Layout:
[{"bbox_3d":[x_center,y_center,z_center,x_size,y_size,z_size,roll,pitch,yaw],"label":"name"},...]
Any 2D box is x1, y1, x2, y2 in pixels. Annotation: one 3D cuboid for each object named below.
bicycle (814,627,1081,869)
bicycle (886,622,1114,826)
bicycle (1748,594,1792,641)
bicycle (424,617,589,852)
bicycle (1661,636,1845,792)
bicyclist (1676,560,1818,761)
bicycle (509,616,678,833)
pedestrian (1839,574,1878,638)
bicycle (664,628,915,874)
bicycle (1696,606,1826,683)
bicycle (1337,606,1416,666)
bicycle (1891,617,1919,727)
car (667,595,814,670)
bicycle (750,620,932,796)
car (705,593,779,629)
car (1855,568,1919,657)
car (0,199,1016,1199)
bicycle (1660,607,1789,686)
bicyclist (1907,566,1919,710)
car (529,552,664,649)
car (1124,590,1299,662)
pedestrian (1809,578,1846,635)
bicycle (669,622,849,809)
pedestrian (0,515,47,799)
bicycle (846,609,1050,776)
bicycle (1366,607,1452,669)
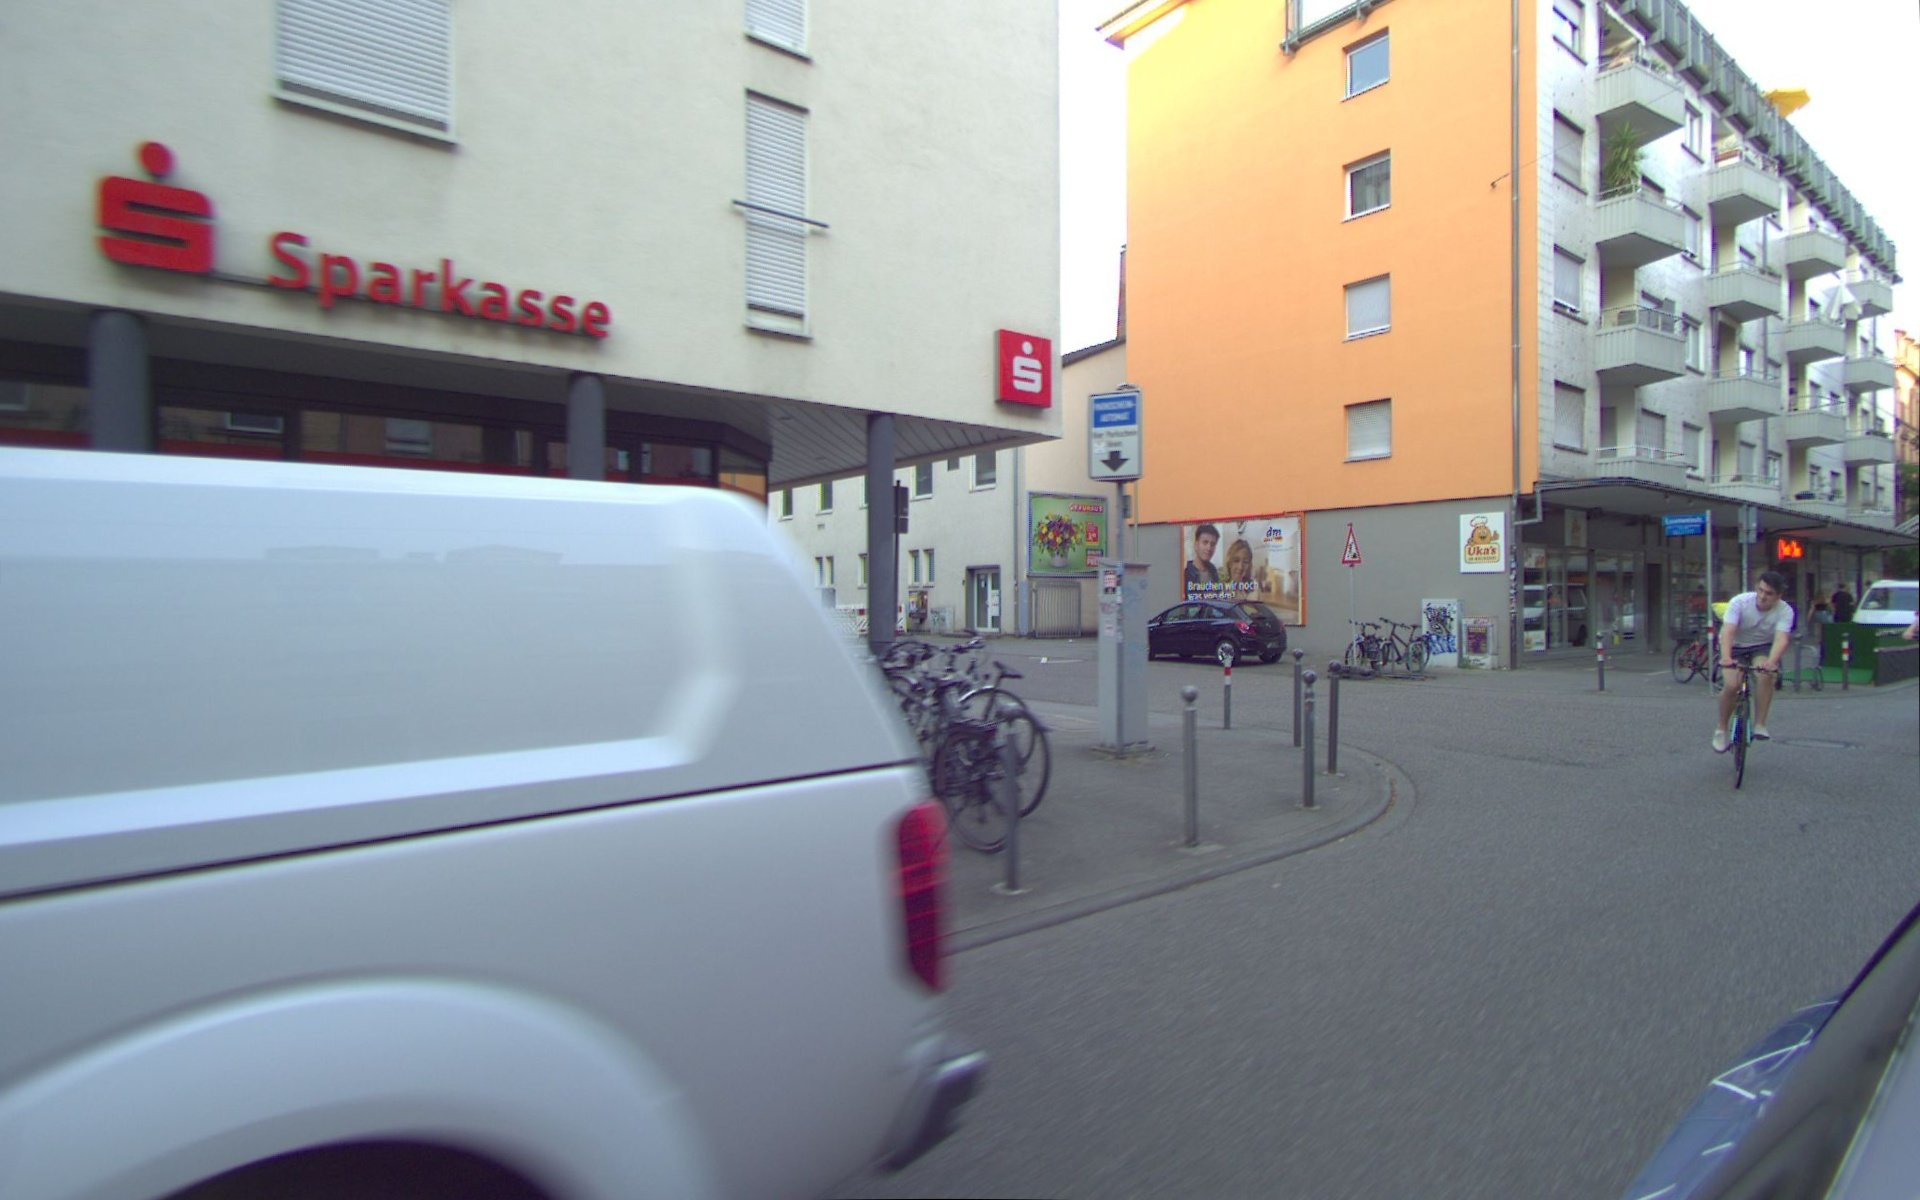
[{"bbox_3d":[-0.138,0.791,6.130,0.694,1.131,1.727,-1,2,-39],"label":"bicycle"},{"bbox_3d":[0.222,0.772,7.056,0.693,1.131,1.729,-1,2,-34],"label":"bicycle"},{"bbox_3d":[22.880,0.470,28.613,0.908,1.210,1.688,2,3,38],"label":"bicycle"},{"bbox_3d":[-2.821,0.723,6.201,0.641,1.131,1.729,-1,2,-34],"label":"bicycle"},{"bbox_3d":[6.454,0.860,8.201,1.882,1.031,0.658,-2,0,-36],"label":"bicycle"},{"bbox_3d":[6.426,0.454,8.261,0.935,1.528,0.650,-1,0,-36],"label":"bicyclist"},{"bbox_3d":[-2.445,0.723,6.632,0.641,1.131,1.729,-1,2,-34],"label":"bicycle"},{"bbox_3d":[26.840,0.157,30.243,0.845,1.851,0.710,-1,2,-38],"label":"pedestrian"},{"bbox_3d":[-1.086,0.801,6.098,0.694,1.131,1.813,-1,2,-39],"label":"bicycle"},{"bbox_3d":[13.703,0.733,17.393,0.644,1.148,1.946,1,2,-1],"label":"bicycle"},{"bbox_3d":[8.247,0.685,20.036,1.723,1.080,0.564,-2,2,-33],"label":"bicycle"},{"bbox_3d":[11.128,0.763,11.178,2.299,1.154,0.794,0,-2,-36],"label":"bicycle"},{"bbox_3d":[-4.926,0.661,22.281,1.757,1.451,4.249,3,-1,-32],"label":"car"},{"bbox_3d":[-0.949,0.738,7.631,0.641,1.067,1.729,-1,2,-34],"label":"bicycle"},{"bbox_3d":[-9.628,0.472,44.404,1.776,1.437,4.133,-2,0,-34],"label":"car"},{"bbox_3d":[23.463,0.289,24.354,4.910,1.998,1.964,0,2,-38],"label":"car"},{"bbox_3d":[-2.514,0.543,1.050,5.174,1.876,1.915,-1,0,-38],"label":"car"},{"bbox_3d":[12.808,0.750,17.045,0.644,1.148,1.946,1,2,-1],"label":"bicycle"},{"bbox_3d":[11.129,0.419,11.190,0.811,1.592,0.794,1,-2,-36],"label":"bicyclist"},{"bbox_3d":[-11.698,0.062,32.199,2.037,2.769,6.778,2,-2,-37],"label":"car"},{"bbox_3d":[5.700,0.540,23.273,1.674,1.494,3.679,-2,1,-36],"label":"car"},{"bbox_3d":[26.517,0.193,30.926,0.731,1.686,0.710,-1,2,-38],"label":"pedestrian"},{"bbox_3d":[-1.489,0.747,7.252,0.641,1.067,1.729,-1,2,-34],"label":"bicycle"},{"bbox_3d":[-6.332,0.334,6.143,0.767,1.745,0.906,3,1,24],"label":"pedestrian"},{"bbox_3d":[-0.136,0.688,8.224,1.721,1.145,0.570,2,2,41],"label":"bicycle"},{"bbox_3d":[8.670,0.704,19.522,1.926,1.080,0.564,-2,2,-33],"label":"bicycle"}]
